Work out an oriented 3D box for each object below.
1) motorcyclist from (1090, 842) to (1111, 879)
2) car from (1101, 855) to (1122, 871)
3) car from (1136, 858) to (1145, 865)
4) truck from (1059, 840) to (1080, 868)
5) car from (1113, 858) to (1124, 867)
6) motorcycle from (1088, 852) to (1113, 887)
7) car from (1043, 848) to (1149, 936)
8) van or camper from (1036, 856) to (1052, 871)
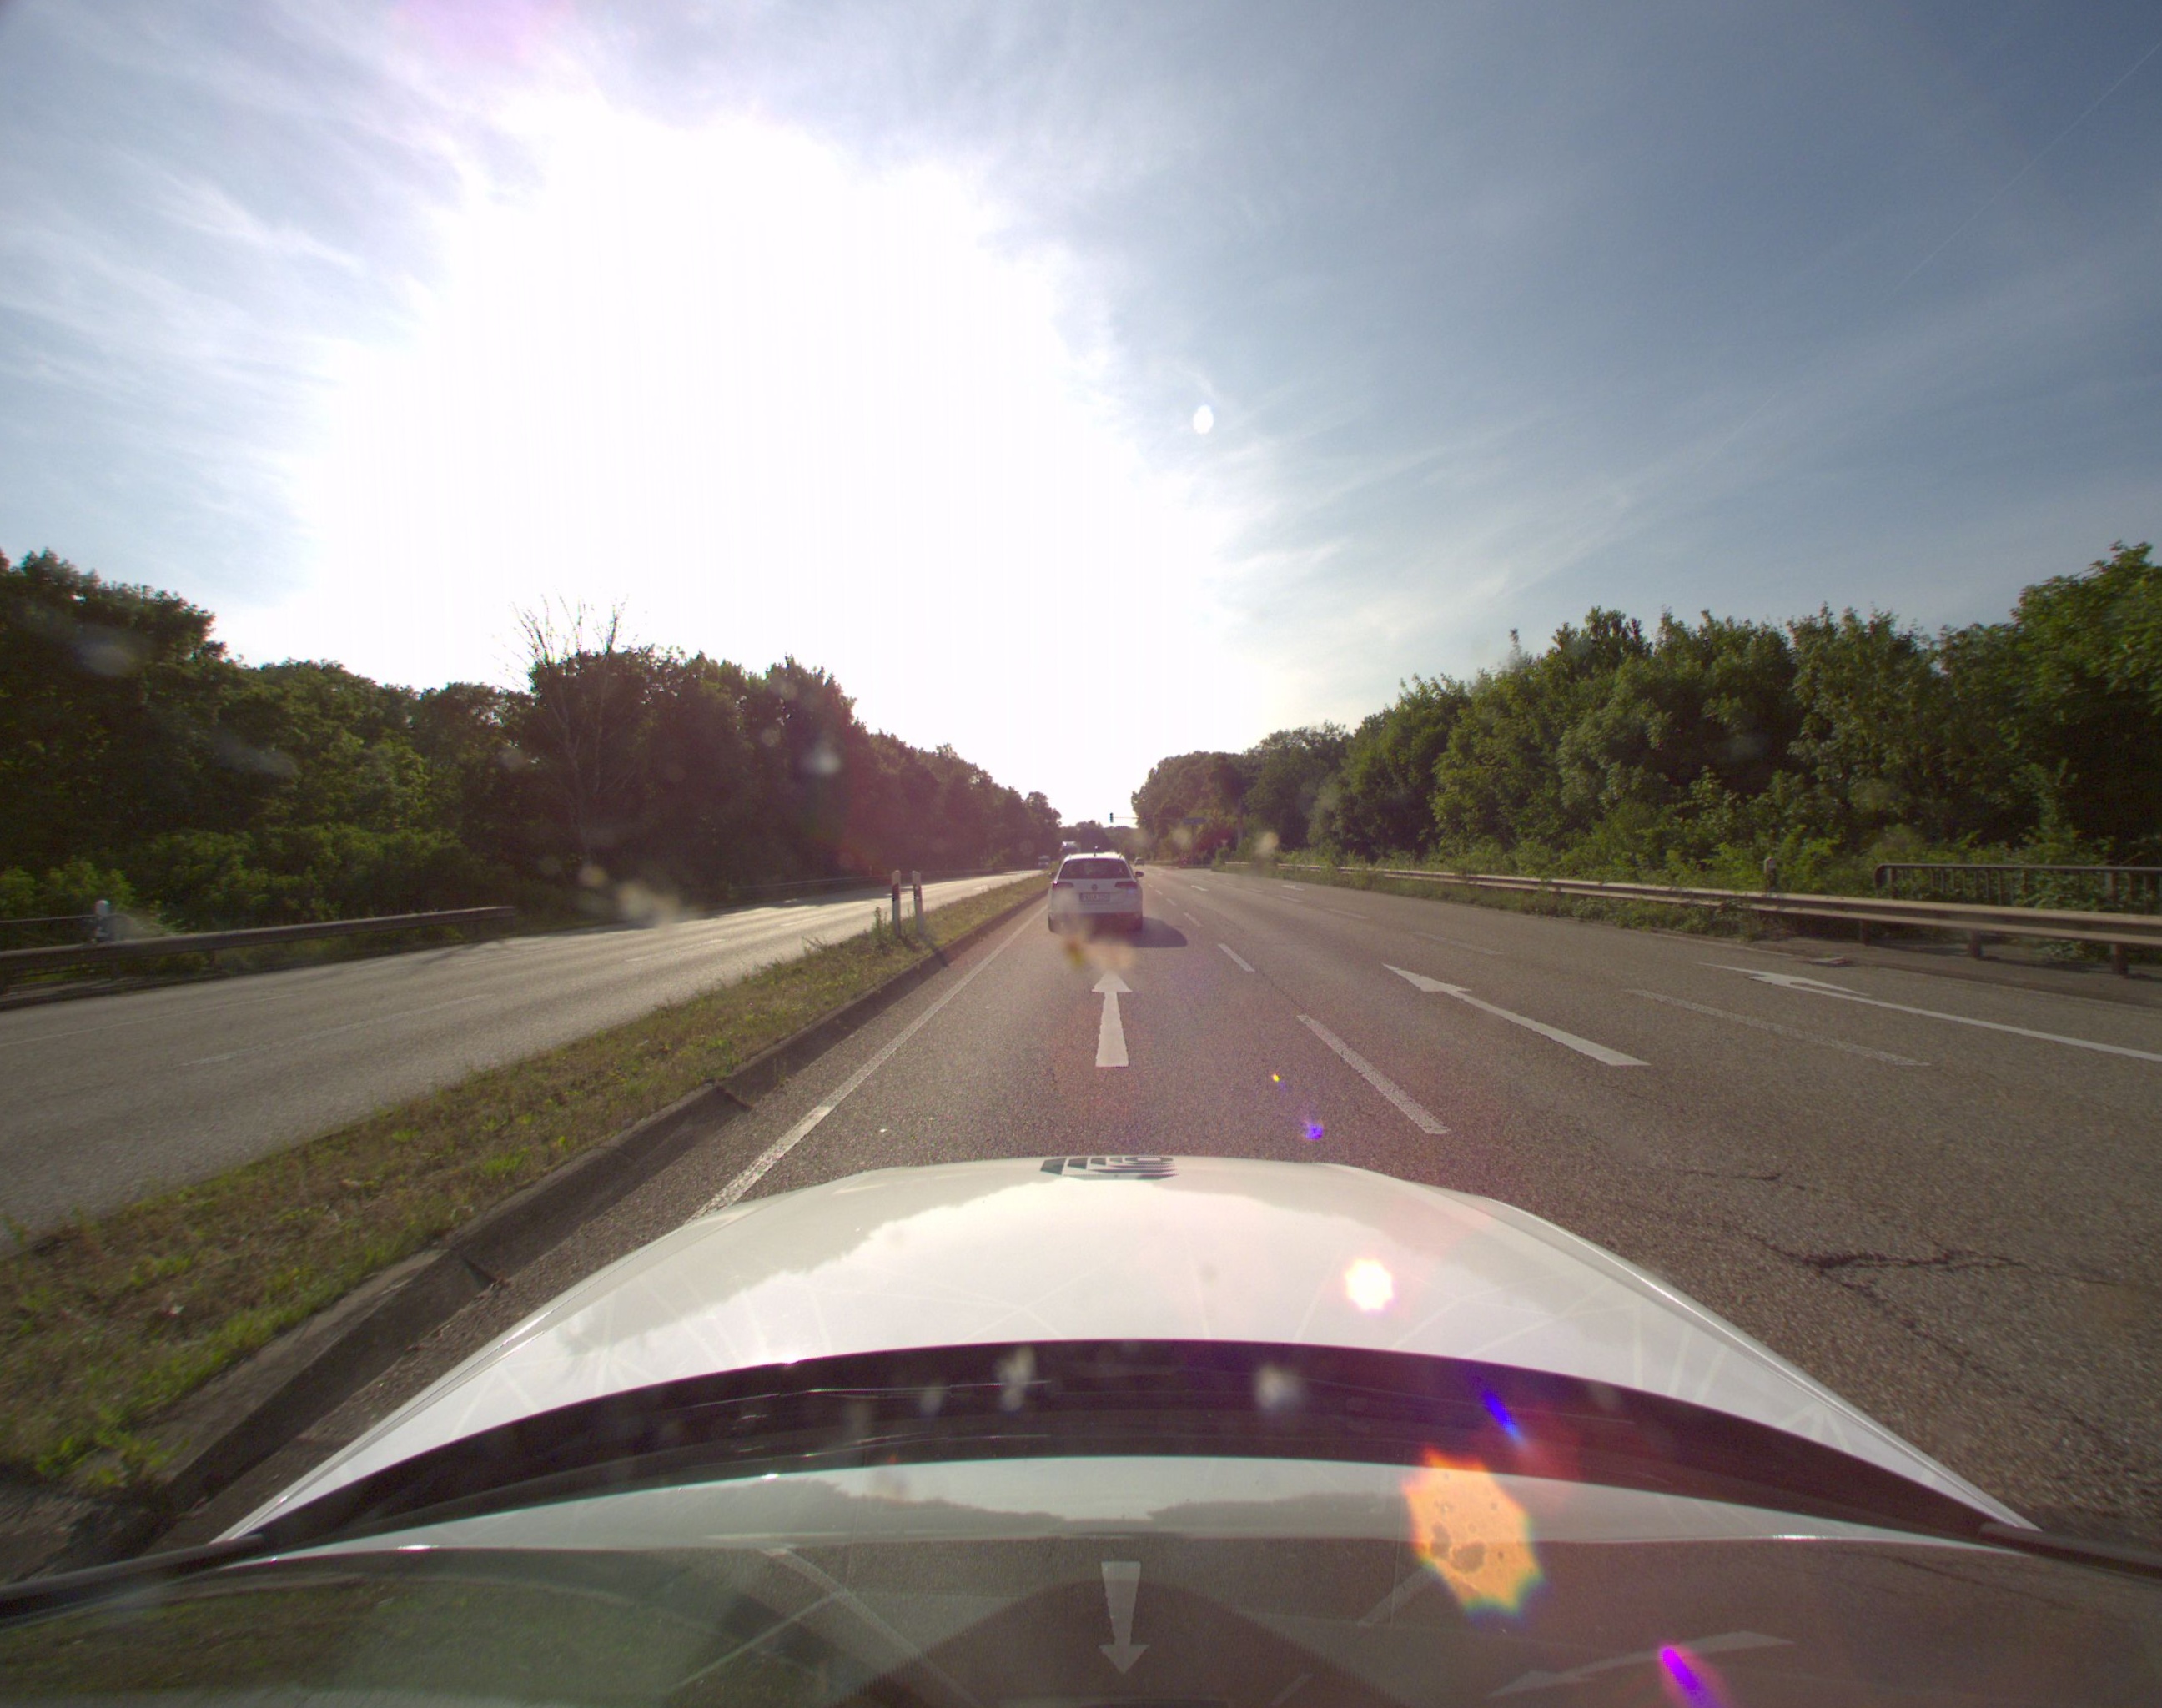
[{"bbox_3d":[0.888,0.295,37.110,0.879,1.616,1.292,0,-1,4],"label":"motorcyclist"},{"bbox_3d":[2.685,0.774,71.335,1.754,1.380,3.975,-1,-1,3],"label":"car"},{"bbox_3d":[12.525,1.617,172.158,1.754,1.380,3.975,-1,-1,3],"label":"car"},{"bbox_3d":[-1.685,0.036,121.784,2.881,3.997,6.722,-1,-1,1],"label":"truck"},{"bbox_3d":[5.911,1.310,128.294,1.754,1.380,3.975,-1,-1,3],"label":"car"},{"bbox_3d":[0.903,0.670,37.107,0.904,1.453,2.692,-5,0,4],"label":"motorcycle"},{"bbox_3d":[0.385,0.663,16.906,1.862,1.521,4.837,-1,0,3],"label":"car"},{"bbox_3d":[-7.326,1.957,162.958,2.403,2.711,6.441,-4,-1,2],"label":"van or camper"}]
